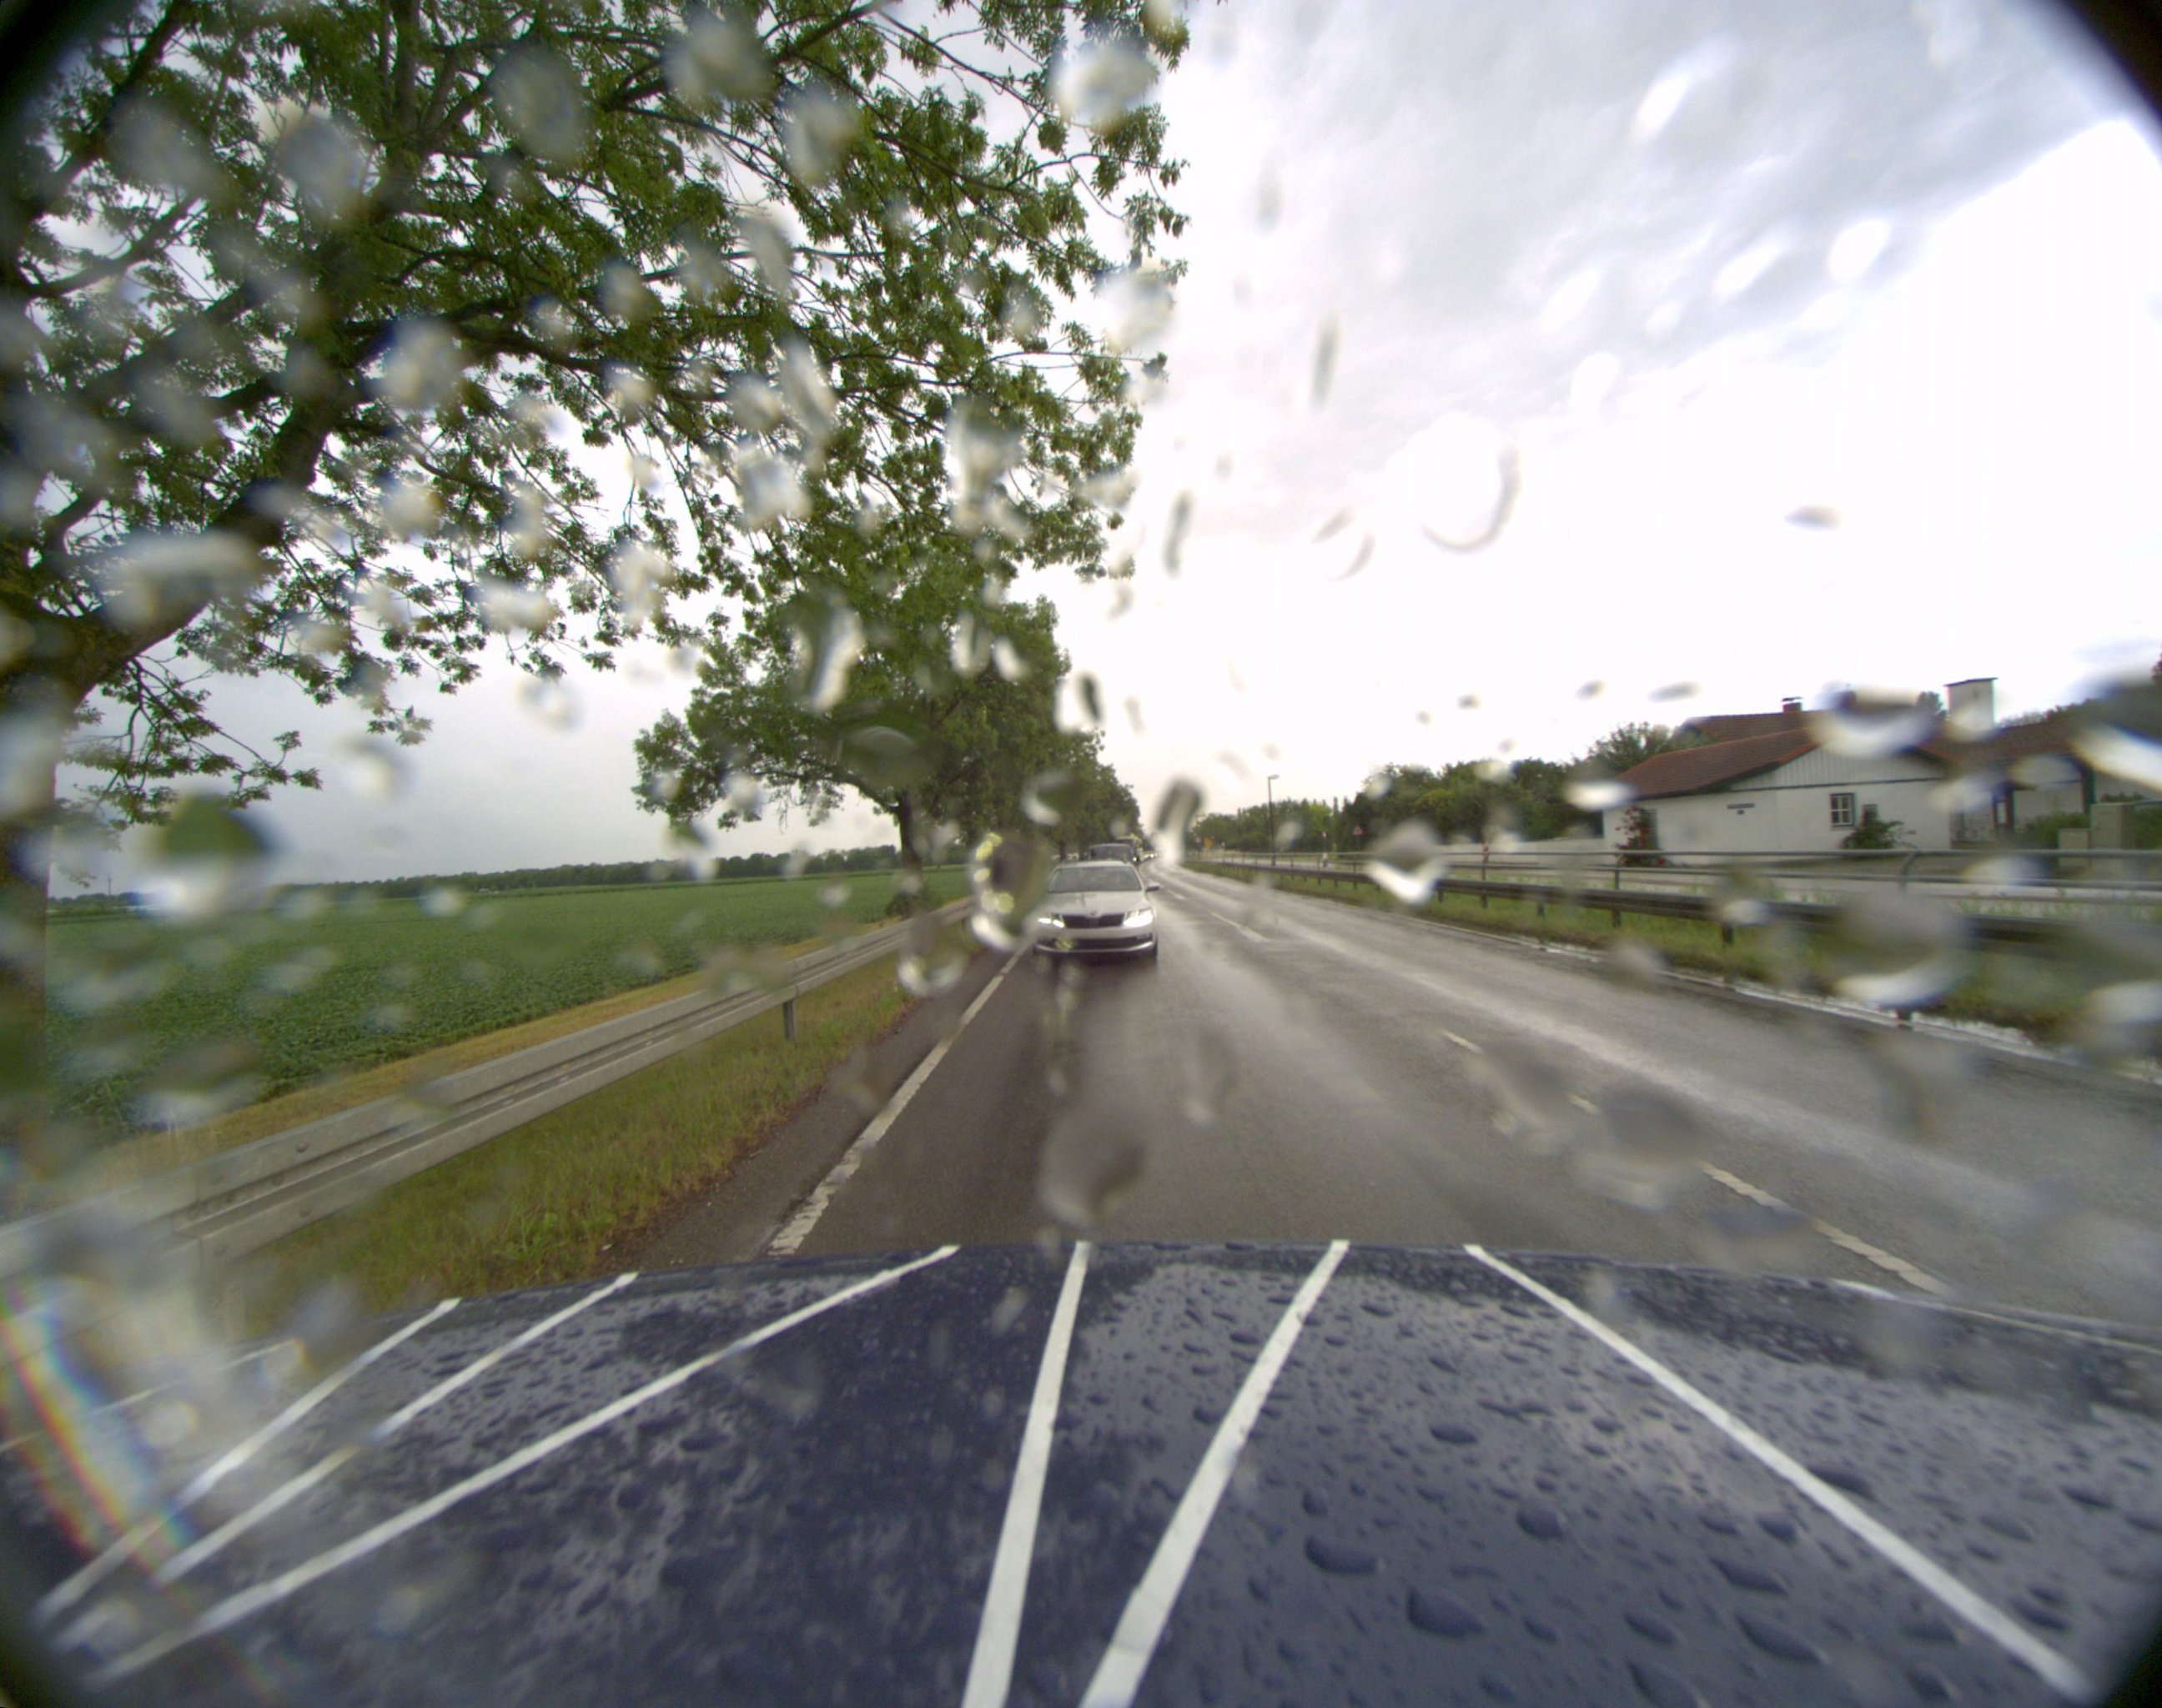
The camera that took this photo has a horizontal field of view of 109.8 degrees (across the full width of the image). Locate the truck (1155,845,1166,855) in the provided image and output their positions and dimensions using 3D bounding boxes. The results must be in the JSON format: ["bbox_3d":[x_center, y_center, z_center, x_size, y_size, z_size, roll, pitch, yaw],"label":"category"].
[{"bbox_3d":[22.065,-1.154,210.914,2.800,2.461,7.169,-3,0,4],"label":"truck"}]

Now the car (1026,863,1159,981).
[{"bbox_3d":[0.173,0.911,11.847,1.705,1.438,4.000,-1,0,1],"label":"car"}]

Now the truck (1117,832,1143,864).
[{"bbox_3d":[5.882,-0.713,92.985,2.751,3.547,8.387,-3,0,2],"label":"truck"}]

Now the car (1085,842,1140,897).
[{"bbox_3d":[1.134,0.539,28.768,1.903,1.884,4.000,-1,0,1],"label":"car"}]

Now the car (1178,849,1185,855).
[{"bbox_3d":[33.788,-0.717,255.180,1.811,1.723,4.027,-3,0,2],"label":"car"}]

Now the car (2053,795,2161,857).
[{"bbox_3d":[24.644,-0.657,17.073,1.452,1.348,3.270,-3,0,2],"label":"car"}]

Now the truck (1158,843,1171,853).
[{"bbox_3d":[21.411,-1.505,194.898,2.800,2.461,7.169,-3,0,4],"label":"truck"}]

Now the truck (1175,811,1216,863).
[{"bbox_3d":[11.986,-1.700,80.414,3.256,5.004,7.784,-4,0,3],"label":"truck"}]

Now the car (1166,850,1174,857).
[{"bbox_3d":[27.347,-0.271,234.706,1.998,2.002,4.100,-3,0,1],"label":"car"}]
